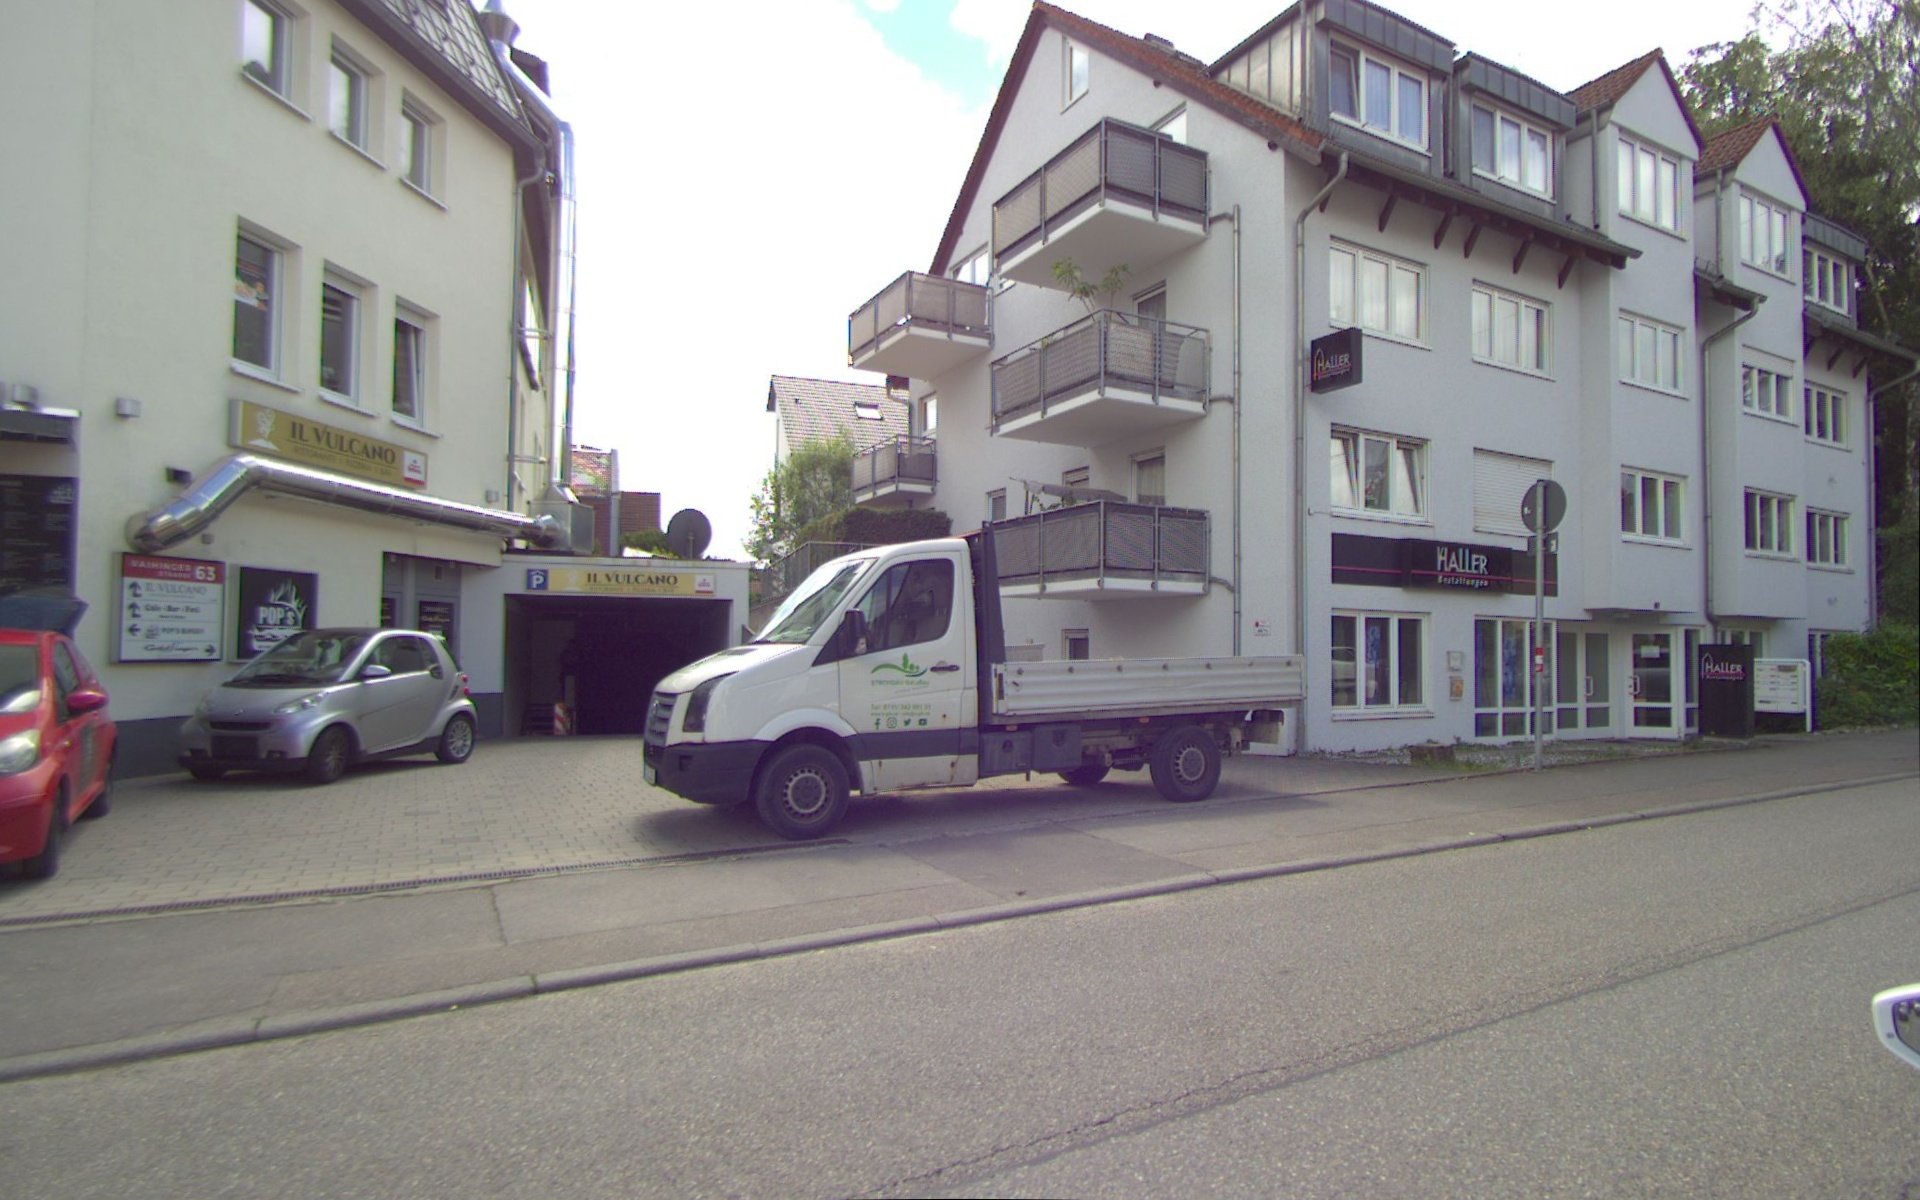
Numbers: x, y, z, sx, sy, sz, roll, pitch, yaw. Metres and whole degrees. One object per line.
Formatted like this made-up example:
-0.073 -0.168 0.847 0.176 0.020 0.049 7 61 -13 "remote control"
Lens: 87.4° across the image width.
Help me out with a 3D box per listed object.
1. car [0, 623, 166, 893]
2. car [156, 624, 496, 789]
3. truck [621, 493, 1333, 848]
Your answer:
-6.672 0.879 6.657 1.785 1.444 3.672 1 -2 -32 "car"
-6.592 1.056 10.793 1.534 1.489 2.851 1 -3 10 "car"
0.318 0.599 9.242 6.243 2.411 2.217 2 -2 -27 "truck"
